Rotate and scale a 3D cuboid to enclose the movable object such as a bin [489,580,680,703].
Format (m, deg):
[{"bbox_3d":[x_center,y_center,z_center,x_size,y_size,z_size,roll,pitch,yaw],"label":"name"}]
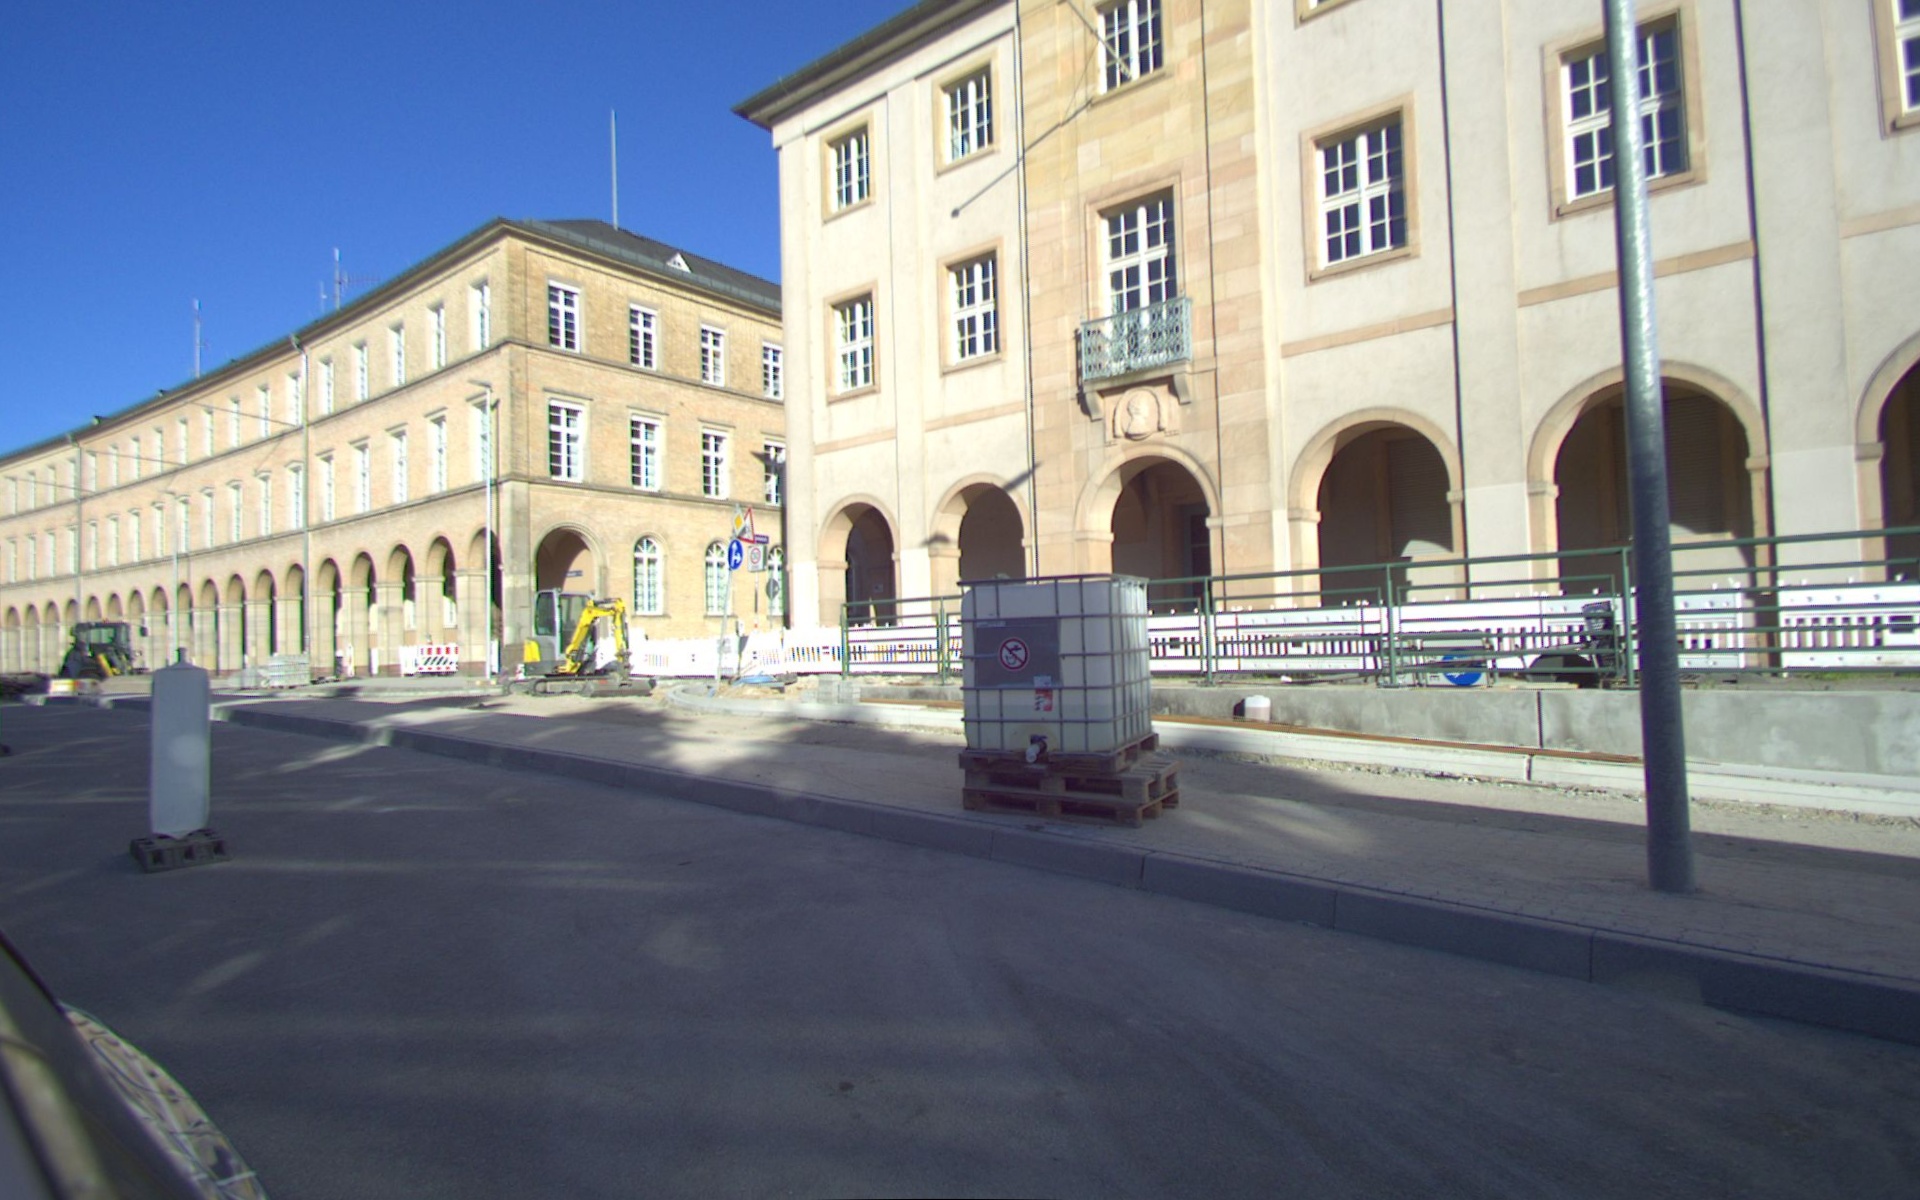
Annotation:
[{"bbox_3d":[-8.271,0.928,22.137,4.305,2.414,2.077,-3,-4,41],"label":"movable object such as a bin"}]

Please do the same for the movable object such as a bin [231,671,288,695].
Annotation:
[{"bbox_3d":[-22.894,2.711,33.094,1.237,0.703,1.177,-4,-4,34],"label":"movable object such as a bin"}]

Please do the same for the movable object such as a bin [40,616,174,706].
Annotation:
[{"bbox_3d":[-25.114,1.823,29.767,4.523,2.472,1.776,-4,-4,33],"label":"movable object such as a bin"}]
